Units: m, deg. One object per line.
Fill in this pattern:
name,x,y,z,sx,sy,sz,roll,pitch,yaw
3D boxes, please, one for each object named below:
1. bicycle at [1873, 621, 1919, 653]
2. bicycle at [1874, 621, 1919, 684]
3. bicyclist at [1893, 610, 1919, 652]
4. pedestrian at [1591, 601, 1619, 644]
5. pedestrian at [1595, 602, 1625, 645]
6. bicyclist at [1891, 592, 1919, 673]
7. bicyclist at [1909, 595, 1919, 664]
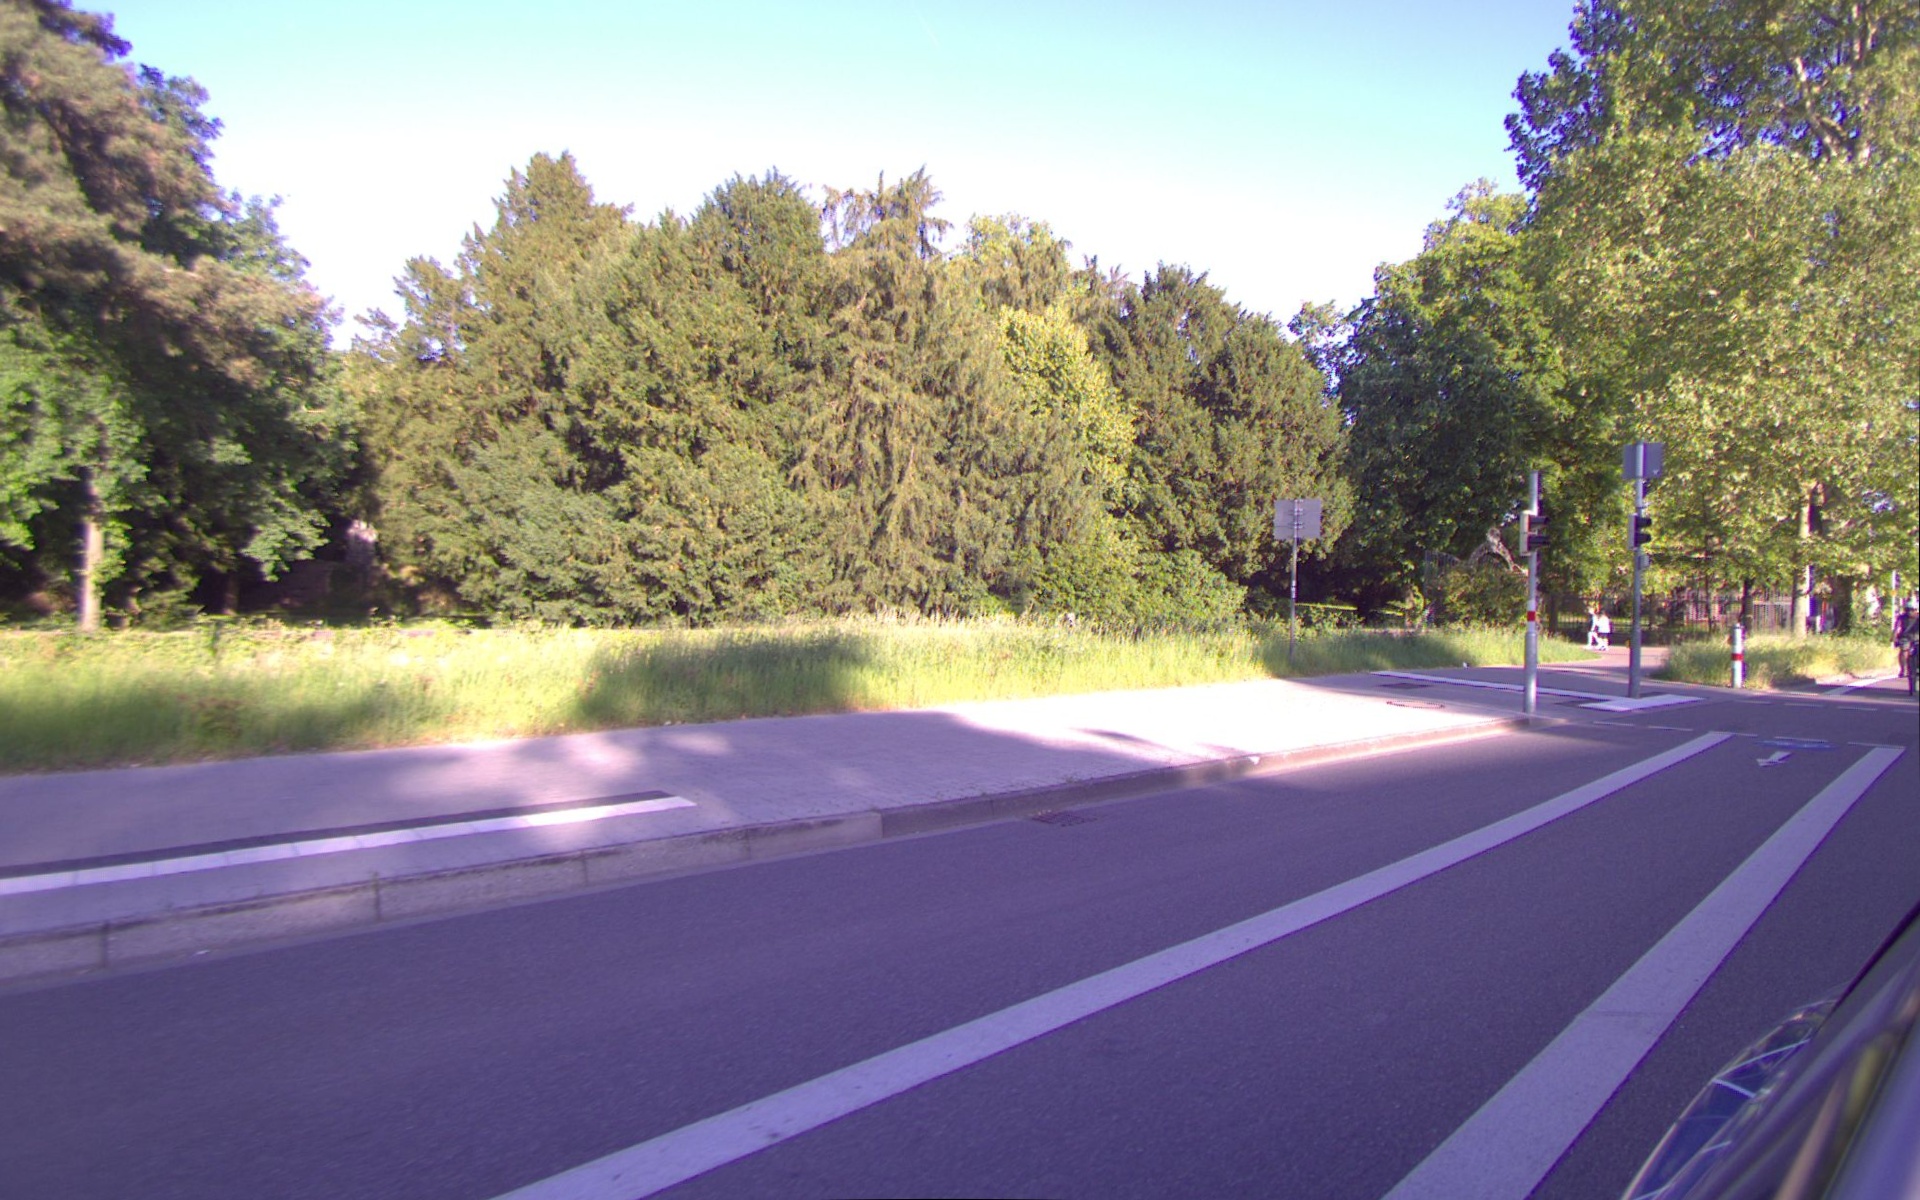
bicycle,34.246,1.343,36.397,0.682,1.109,1.992,1,1,-34
bicycle,18.075,0.965,19.038,2.093,1.109,0.696,1,0,-31
bicyclist,34.211,1.108,36.443,0.682,1.466,0.767,1,0,-34
pedestrian,25.268,0.866,39.656,0.667,1.654,0.692,1,0,-33
pedestrian,24.524,0.887,38.181,0.667,1.565,0.692,1,0,-33
bicyclist,18.176,0.609,19.078,0.784,1.509,0.696,1,0,-30
bicyclist,21.552,0.654,22.447,0.878,1.520,0.693,1,0,-45
